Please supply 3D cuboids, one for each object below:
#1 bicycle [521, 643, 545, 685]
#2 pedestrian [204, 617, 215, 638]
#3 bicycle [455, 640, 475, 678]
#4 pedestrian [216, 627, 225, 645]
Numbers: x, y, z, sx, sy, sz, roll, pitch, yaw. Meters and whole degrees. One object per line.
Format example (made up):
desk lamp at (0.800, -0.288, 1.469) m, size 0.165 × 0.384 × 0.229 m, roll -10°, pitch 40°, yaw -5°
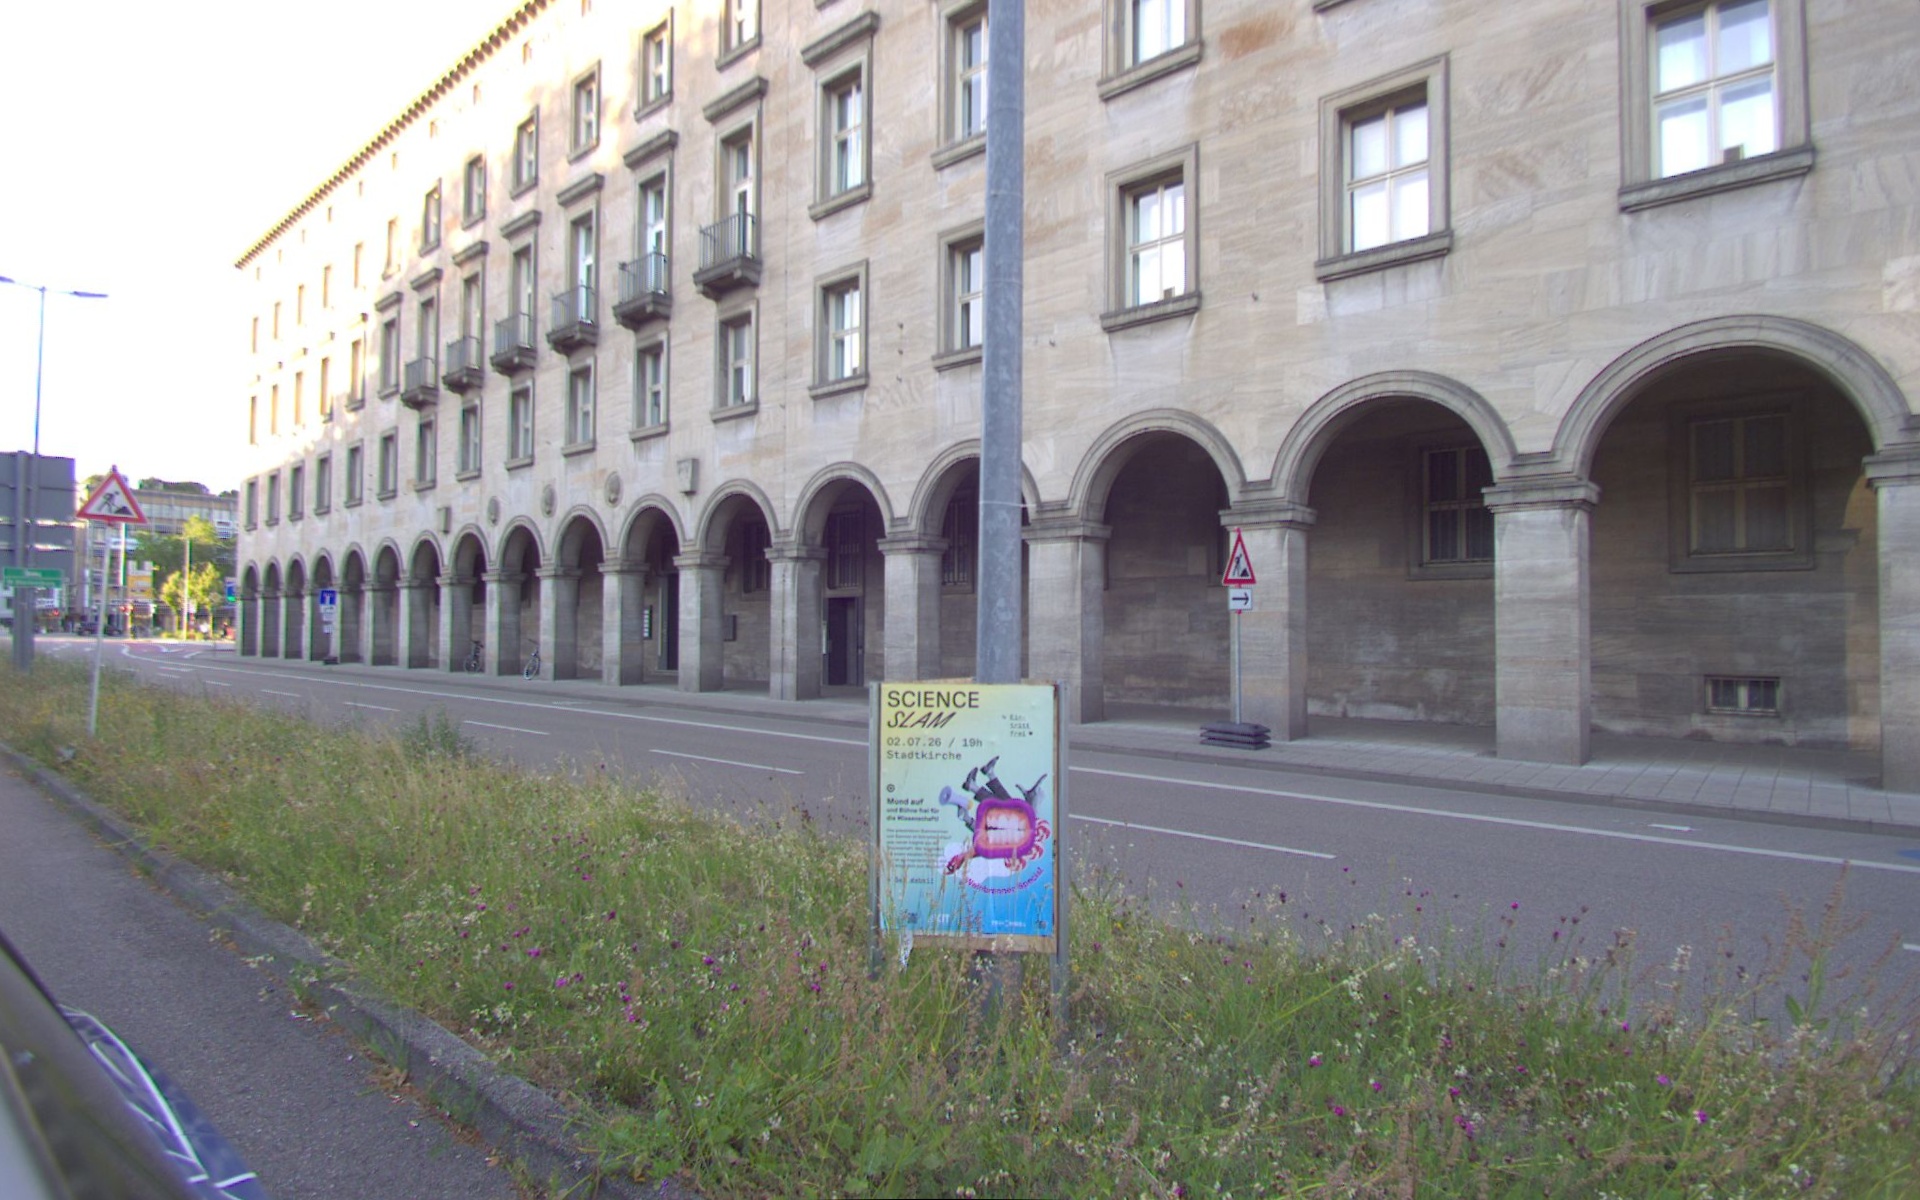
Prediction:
bicycle at (-12.707, 1.877, 30.147) m, size 0.505 × 1.130 × 2.431 m, roll 1°, pitch -1°, yaw -20°
pedestrian at (-63.895, 2.354, 86.138) m, size 0.506 × 1.771 × 0.630 m, roll -2°, pitch -3°, yaw 41°
bicycle at (-16.238, 1.922, 33.225) m, size 0.505 × 1.188 × 2.431 m, roll 1°, pitch -2°, yaw -25°
pedestrian at (-63.253, 3.104, 86.572) m, size 0.389 × 1.553 × 0.519 m, roll -2°, pitch -3°, yaw 41°
